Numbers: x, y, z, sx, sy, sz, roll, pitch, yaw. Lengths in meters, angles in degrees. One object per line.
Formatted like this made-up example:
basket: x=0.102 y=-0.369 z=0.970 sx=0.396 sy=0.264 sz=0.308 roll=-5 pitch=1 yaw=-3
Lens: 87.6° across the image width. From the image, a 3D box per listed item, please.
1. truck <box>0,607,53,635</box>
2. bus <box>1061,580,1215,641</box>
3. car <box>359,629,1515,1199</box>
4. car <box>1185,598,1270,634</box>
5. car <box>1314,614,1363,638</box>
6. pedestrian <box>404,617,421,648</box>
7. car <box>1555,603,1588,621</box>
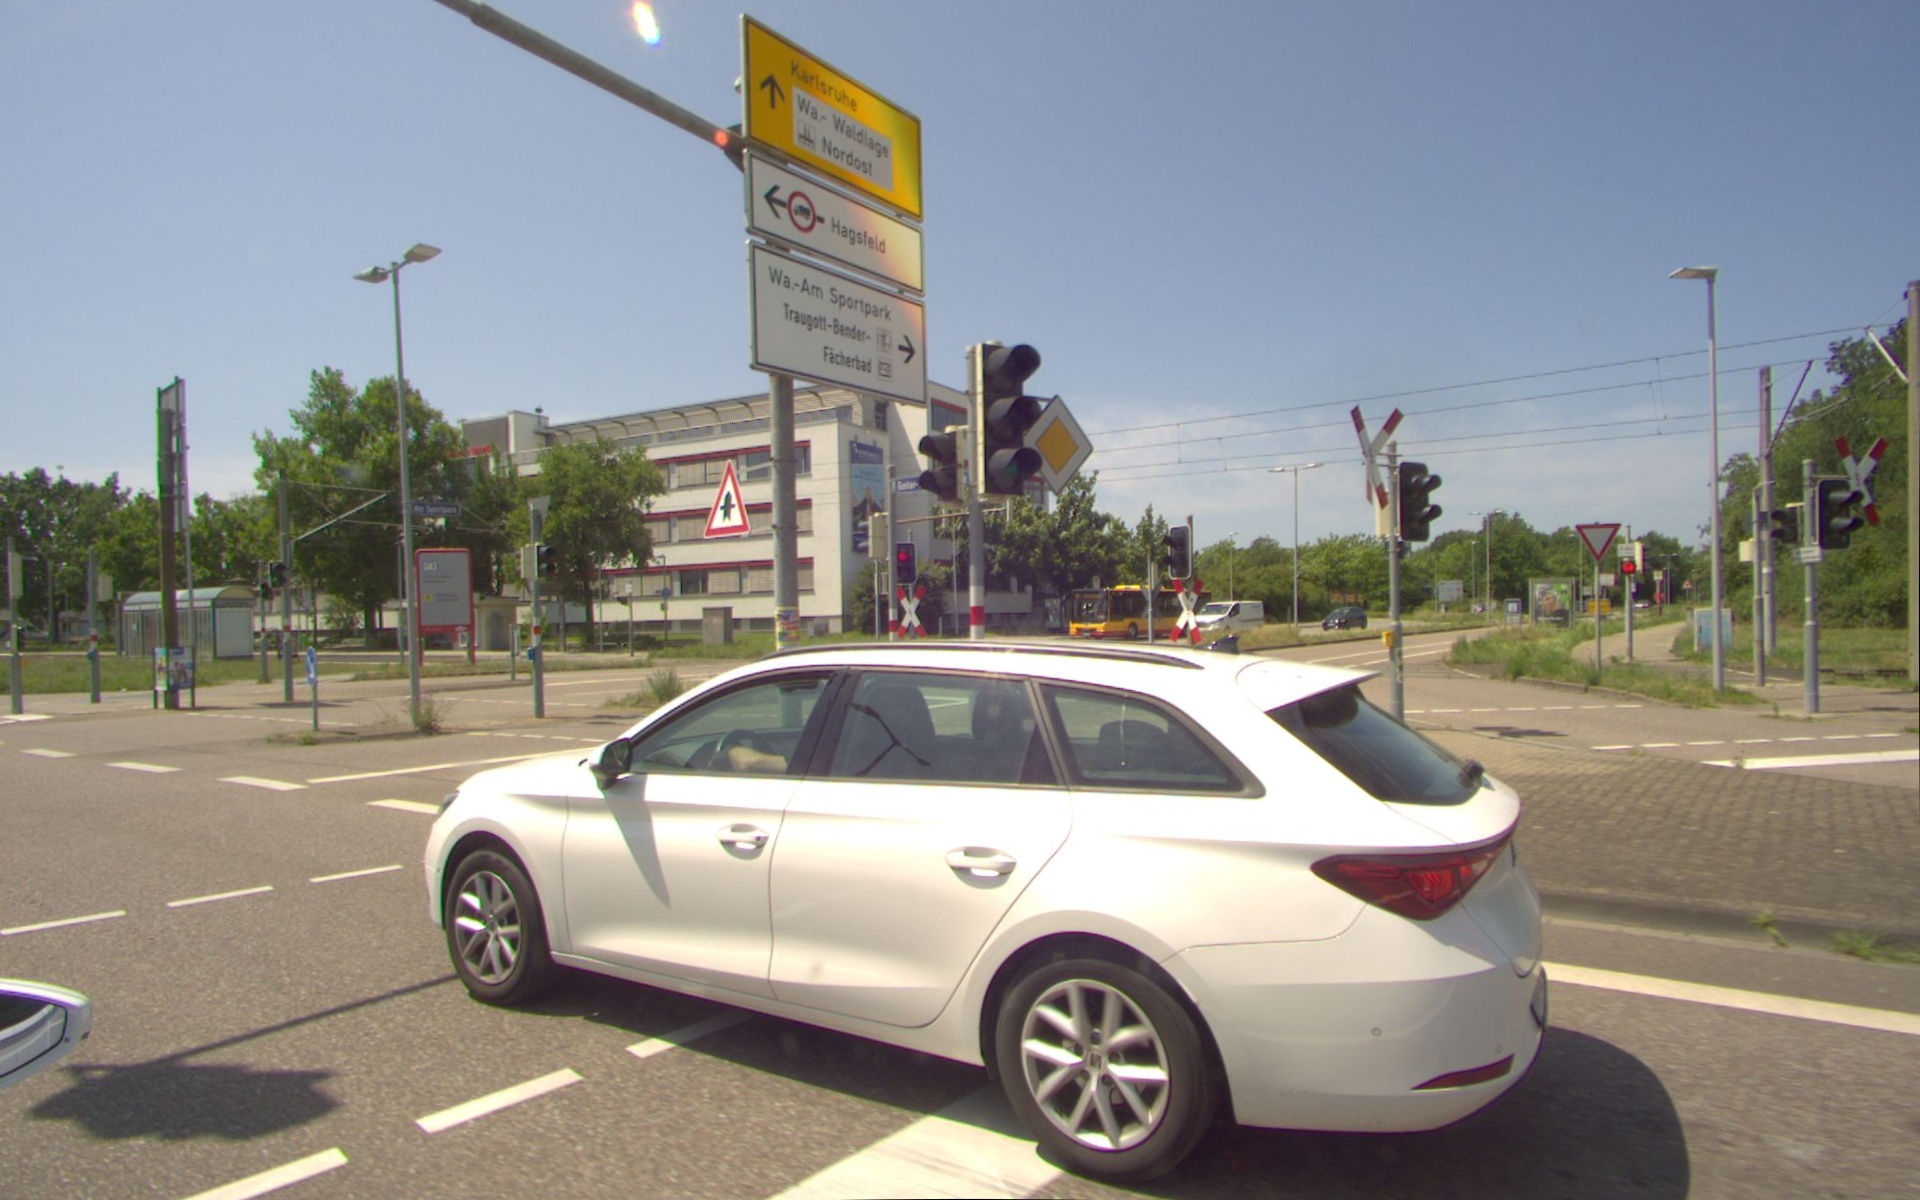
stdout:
truck: x=-102.506 y=2.287 z=108.393 sx=2.283 sy=2.881 sz=5.837 roll=-2 pitch=0 yaw=26
bus: x=10.573 y=0.657 z=57.931 sx=2.809 sy=3.159 sz=11.976 roll=-2 pitch=-2 yaw=42
car: x=-0.317 y=0.846 z=3.986 sx=4.385 sy=1.408 sz=1.680 roll=-1 pitch=-1 yaw=31
car: x=13.936 y=0.847 z=51.977 sx=5.021 sy=1.750 sz=1.812 roll=1 pitch=-3 yaw=-42
car: x=26.379 y=1.763 z=69.718 sx=3.960 sy=1.600 sz=1.658 roll=0 pitch=-1 yaw=-43
pedestrian: x=-29.258 y=1.737 z=53.494 sx=0.681 sy=1.628 sz=0.550 roll=-2 pitch=-2 yaw=34
car: x=63.800 y=1.237 z=104.453 sx=3.961 sy=1.813 sz=1.981 roll=0 pitch=-1 yaw=-44
